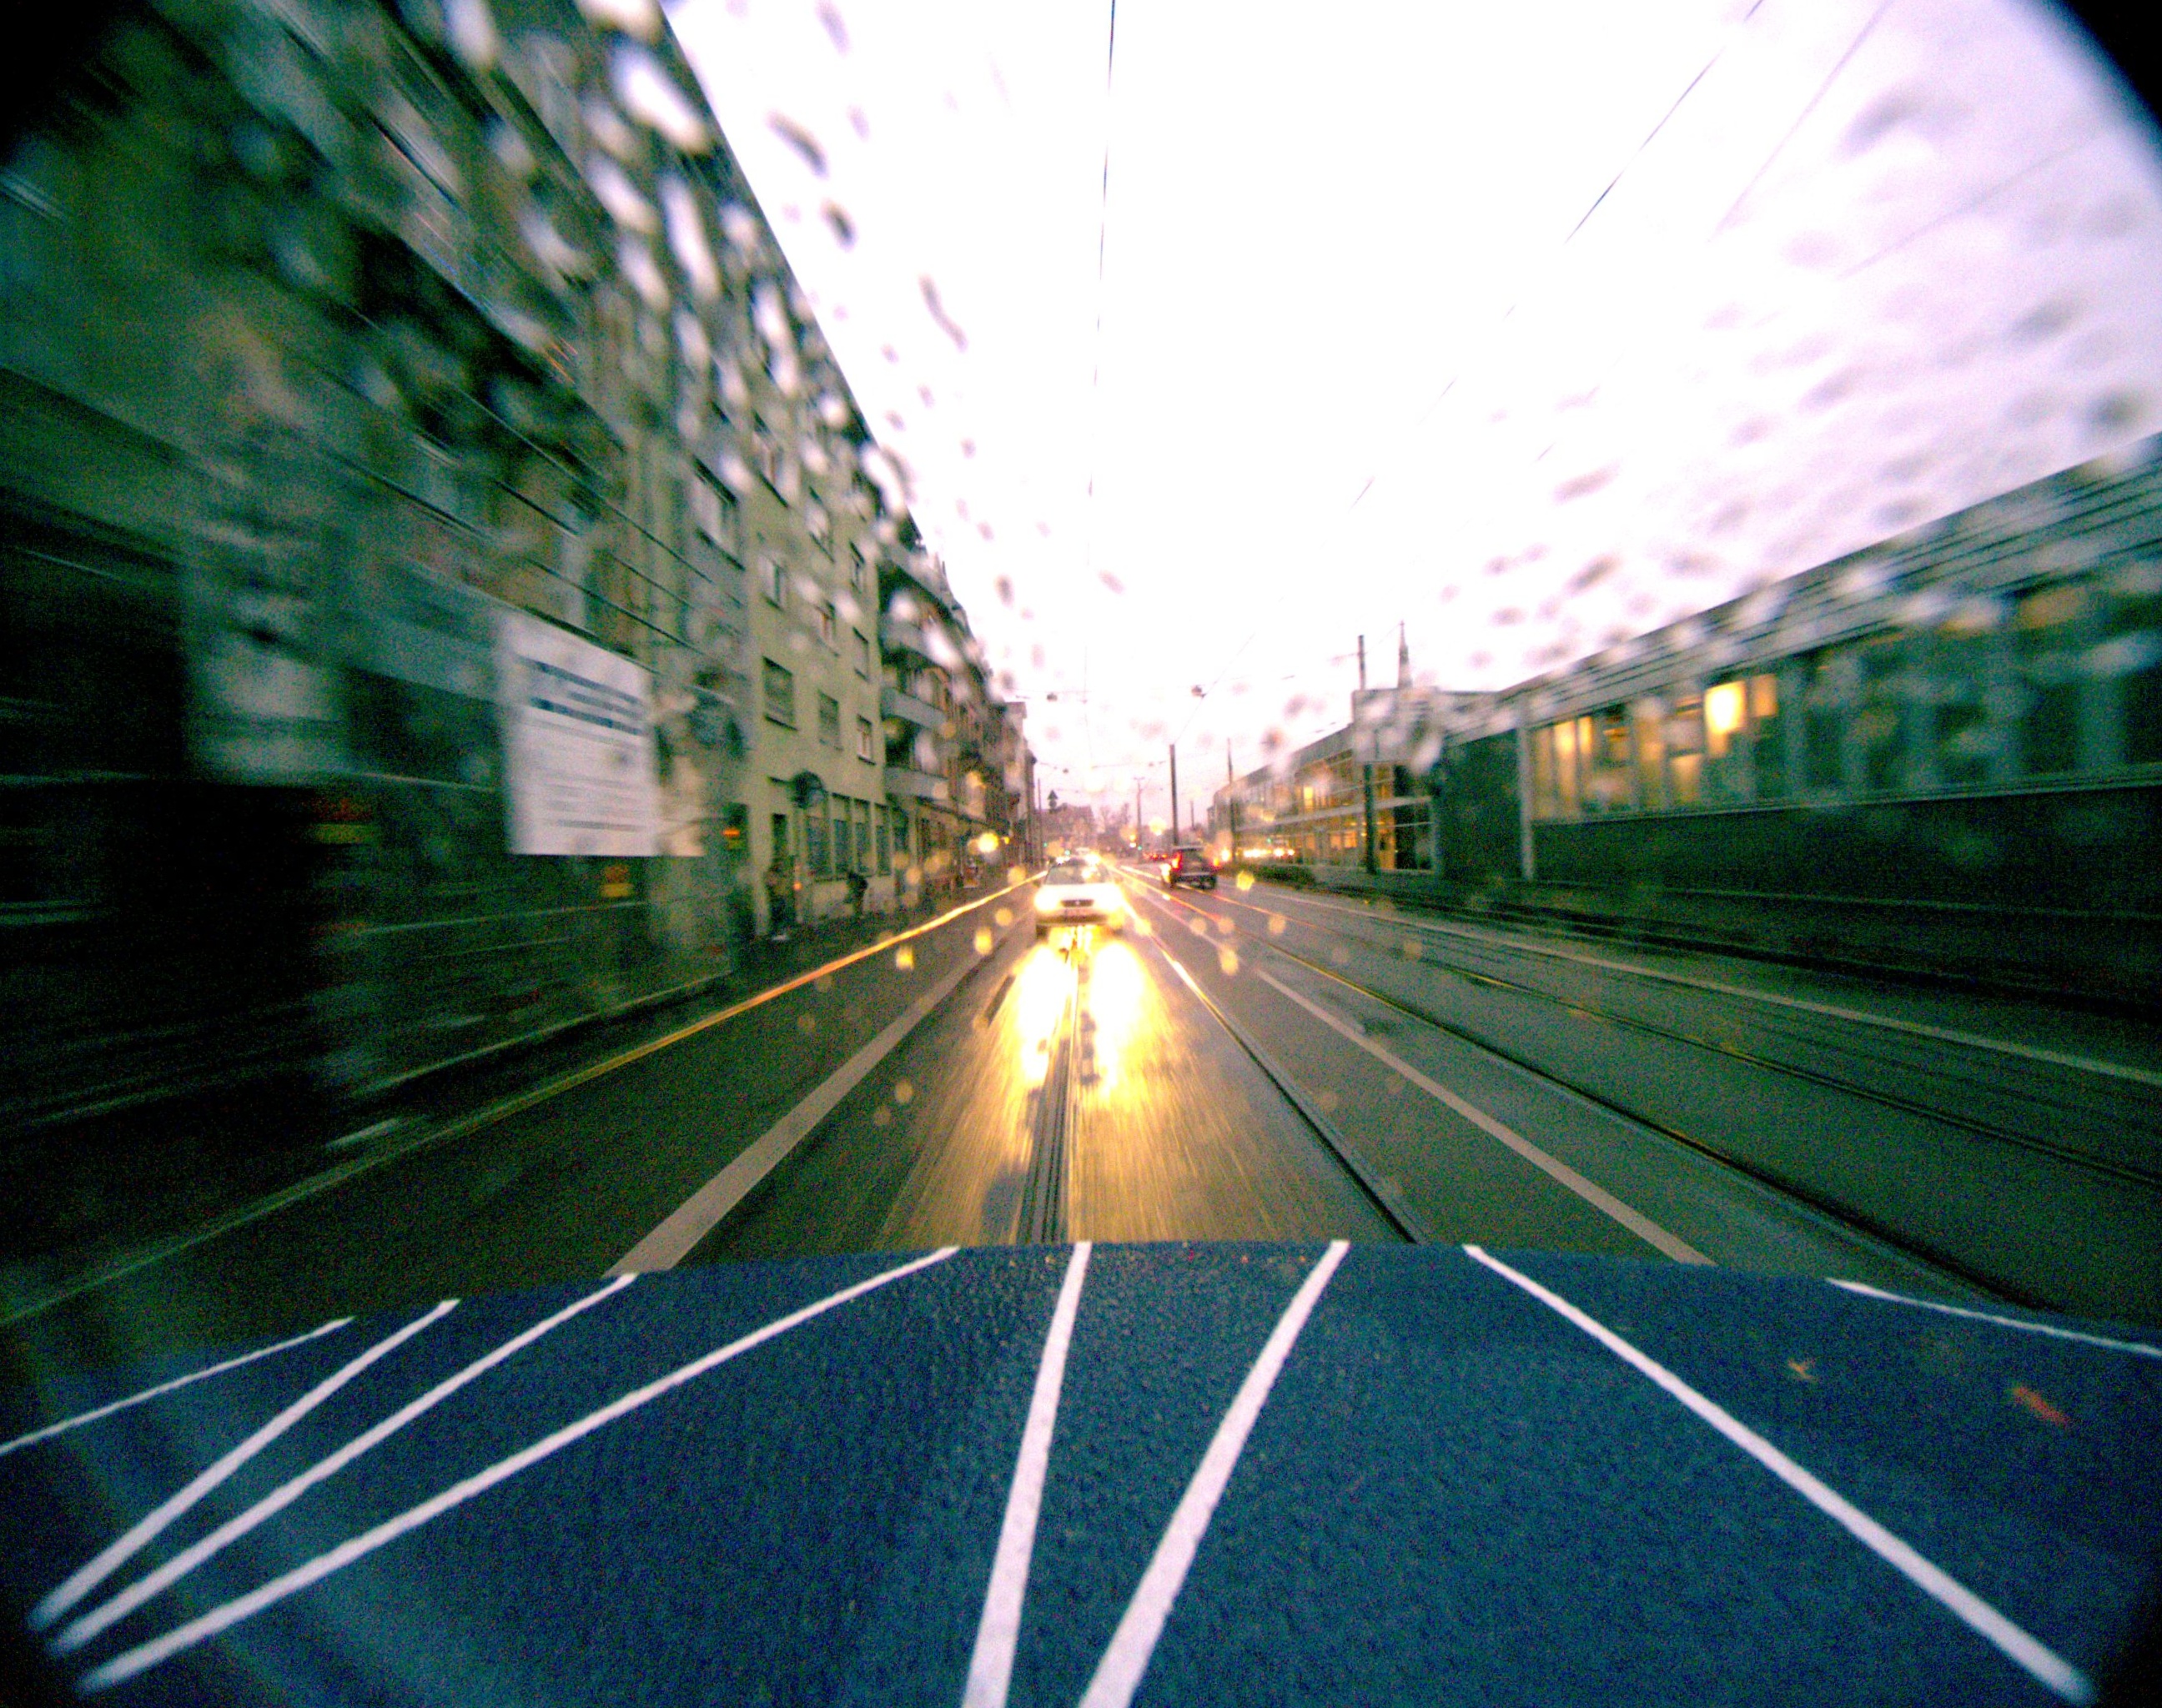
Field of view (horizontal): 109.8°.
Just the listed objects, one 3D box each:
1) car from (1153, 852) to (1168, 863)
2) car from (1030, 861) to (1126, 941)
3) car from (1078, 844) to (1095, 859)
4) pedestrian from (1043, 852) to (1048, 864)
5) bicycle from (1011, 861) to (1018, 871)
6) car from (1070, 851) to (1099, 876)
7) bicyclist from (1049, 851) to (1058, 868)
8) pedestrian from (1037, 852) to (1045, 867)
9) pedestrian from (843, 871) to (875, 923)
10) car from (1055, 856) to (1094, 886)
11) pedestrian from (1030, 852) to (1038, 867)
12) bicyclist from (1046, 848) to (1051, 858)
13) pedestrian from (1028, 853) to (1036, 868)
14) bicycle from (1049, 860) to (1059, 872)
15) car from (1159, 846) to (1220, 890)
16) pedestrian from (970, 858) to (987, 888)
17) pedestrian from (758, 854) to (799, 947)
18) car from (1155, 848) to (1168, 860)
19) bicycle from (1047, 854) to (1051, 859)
[{"bbox_3d":[11.930,0.527,114.306,1.845,1.569,4.442,-2,0,2],"label":"car"},{"bbox_3d":[0.022,0.922,16.707,1.797,1.415,4.000,-2,0,2],"label":"car"},{"bbox_3d":[0.691,-0.369,98.492,2.018,1.809,3.688,-3,1,1],"label":"car"},{"bbox_3d":[-4.495,0.540,96.489,0.633,1.539,0.710,-2,1,-5],"label":"pedestrian"},{"bbox_3d":[-6.019,1.071,68.479,0.398,0.906,1.866,-2,0,0],"label":"bicycle"},{"bbox_3d":[0.297,0.606,52.291,1.824,1.565,4.000,-2,0,2],"label":"car"},{"bbox_3d":[-2.478,0.478,69.098,0.727,1.525,0.785,-2,1,0],"label":"bicyclist"},{"bbox_3d":[-4.639,0.600,87.986,0.777,1.734,0.673,-1,1,1],"label":"pedestrian"},{"bbox_3d":[-6.179,1.181,21.175,0.601,1.369,0.728,-3,1,0],"label":"pedestrian"},{"bbox_3d":[-0.308,0.874,40.352,1.797,1.415,4.000,-2,0,2],"label":"car"},{"bbox_3d":[-5.498,0.607,88.508,0.777,1.734,0.673,-1,1,1],"label":"pedestrian"},{"bbox_3d":[-5.759,-0.208,135.153,0.747,1.869,1.111,-2,1,-2],"label":"bicyclist"},{"bbox_3d":[-5.658,0.767,87.673,0.777,1.734,0.673,-1,1,1],"label":"pedestrian"},{"bbox_3d":[-2.452,1.091,69.130,0.725,0.985,2.212,-2,0,0],"label":"bicycle"},{"bbox_3d":[4.515,0.557,32.292,1.880,1.700,4.760,-1,0,0],"label":"car"},{"bbox_3d":[-5.469,1.004,40.658,0.788,1.588,0.741,-2,1,-1],"label":"pedestrian"},{"bbox_3d":[-6.167,0.928,15.476,0.601,1.808,0.774,-3,1,-27],"label":"pedestrian"},{"bbox_3d":[14.317,-0.022,135.159,1.998,2.002,4.685,-3,1,4],"label":"car"},{"bbox_3d":[-5.743,0.472,135.111,0.609,0.757,1.860,-2,1,-1],"label":"bicycle"}]
